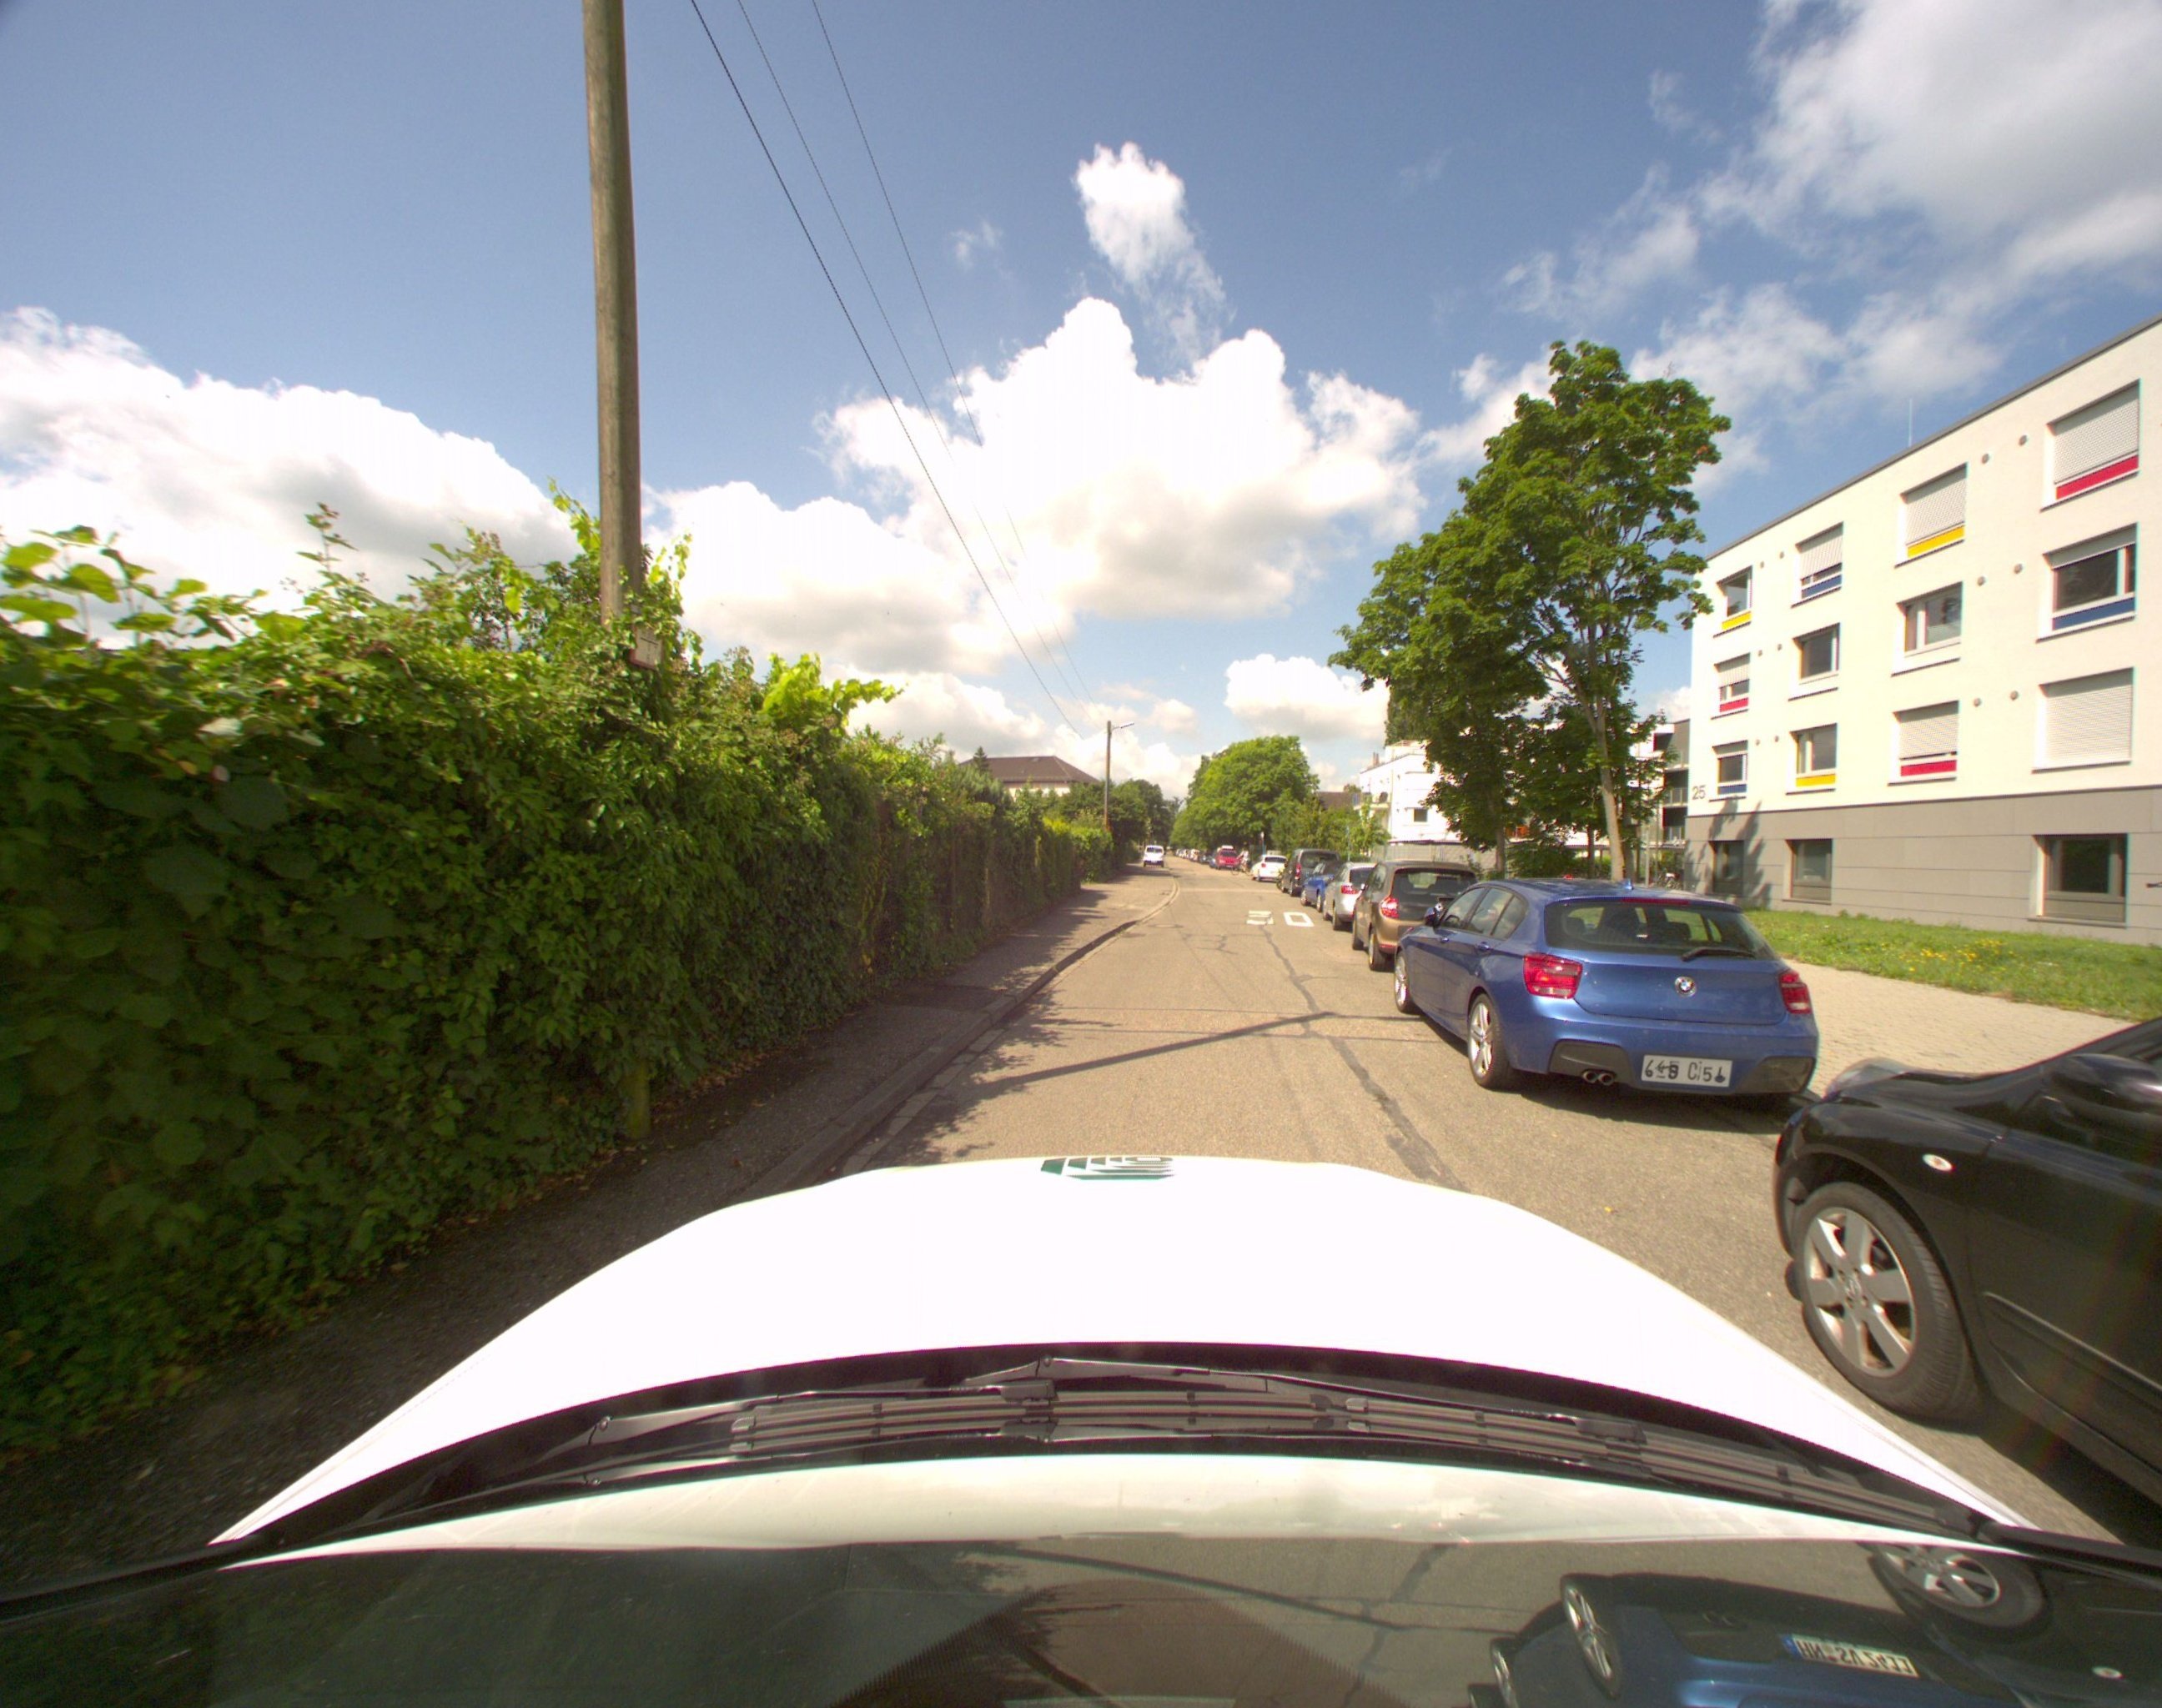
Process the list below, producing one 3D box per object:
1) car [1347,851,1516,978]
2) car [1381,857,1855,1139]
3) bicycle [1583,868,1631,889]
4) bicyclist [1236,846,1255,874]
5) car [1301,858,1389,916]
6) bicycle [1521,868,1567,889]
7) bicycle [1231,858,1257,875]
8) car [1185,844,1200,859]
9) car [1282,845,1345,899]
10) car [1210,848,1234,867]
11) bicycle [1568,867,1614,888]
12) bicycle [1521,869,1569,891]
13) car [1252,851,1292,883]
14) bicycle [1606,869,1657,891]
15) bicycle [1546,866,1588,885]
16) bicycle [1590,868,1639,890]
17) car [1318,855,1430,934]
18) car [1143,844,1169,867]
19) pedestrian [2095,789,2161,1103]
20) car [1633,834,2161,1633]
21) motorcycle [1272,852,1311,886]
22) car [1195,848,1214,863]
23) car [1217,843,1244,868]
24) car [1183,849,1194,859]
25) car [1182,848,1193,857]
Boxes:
[{"bbox_3d":[5.099,0.778,12.325,1.652,1.552,3.650,3,0,13],"label":"car"},{"bbox_3d":[3.719,0.789,6.614,1.653,1.440,4.219,3,0,10],"label":"car"},{"bbox_3d":[27.727,1.287,42.969,2.035,1.079,0.690,0,0,8],"label":"bicycle"},{"bbox_3d":[10.633,0.388,52.588,0.777,1.785,0.900,3,0,38],"label":"bicyclist"},{"bbox_3d":[7.347,0.865,22.984,1.655,1.435,3.548,3,0,7],"label":"car"},{"bbox_3d":[24.446,1.307,43.040,2.035,1.079,0.690,0,0,8],"label":"bicycle"},{"bbox_3d":[10.507,0.798,52.551,0.850,1.026,1.831,3,0,38],"label":"bicycle"},{"bbox_3d":[16.300,-0.342,118.762,2.047,1.961,4.551,3,0,8],"label":"car"},{"bbox_3d":[8.532,0.615,30.122,1.863,1.806,3.442,3,0,10],"label":"car"},{"bbox_3d":[13.275,0.353,76.675,2.047,1.652,4.551,3,0,8],"label":"car"},{"bbox_3d":[28.090,1.290,44.861,2.035,1.079,0.690,0,0,8],"label":"bicycle"},{"bbox_3d":[23.702,1.326,41.612,2.076,1.119,0.626,0,0,10],"label":"bicycle"},{"bbox_3d":[10.118,0.657,43.391,1.669,1.519,4.009,3,0,8],"label":"car"},{"bbox_3d":[27.542,1.304,40.766,2.035,1.079,0.690,0,0,8],"label":"bicycle"},{"bbox_3d":[28.277,1.265,47.402,2.035,1.079,0.690,0,0,8],"label":"bicycle"},{"bbox_3d":[27.634,1.289,42.197,2.035,1.079,0.690,0,0,8],"label":"bicycle"},{"bbox_3d":[6.246,0.787,17.749,1.653,1.439,3.755,3,0,10],"label":"car"},{"bbox_3d":[6.434,0.097,69.596,1.892,1.814,4.009,3,0,8],"label":"car"},{"bbox_3d":[6.324,0.520,4.477,0.605,1.745,0.725,3,0,19],"label":"pedestrian"},{"bbox_3d":[2.886,0.750,1.430,1.653,1.506,4.011,3,0,10],"label":"car"},{"bbox_3d":[8.775,0.620,34.009,1.420,1.362,0.871,3,0,6],"label":"motorcycle"},{"bbox_3d":[14.194,0.152,93.638,2.047,1.652,4.551,3,0,8],"label":"car"},{"bbox_3d":[12.630,0.126,69.006,2.047,1.926,4.551,3,0,8],"label":"car"},{"bbox_3d":[19.685,0.010,148.685,1.840,1.618,4.011,1,0,10],"label":"car"},{"bbox_3d":[21.387,-0.273,163.144,1.840,1.618,4.011,3,0,10],"label":"car"}]
